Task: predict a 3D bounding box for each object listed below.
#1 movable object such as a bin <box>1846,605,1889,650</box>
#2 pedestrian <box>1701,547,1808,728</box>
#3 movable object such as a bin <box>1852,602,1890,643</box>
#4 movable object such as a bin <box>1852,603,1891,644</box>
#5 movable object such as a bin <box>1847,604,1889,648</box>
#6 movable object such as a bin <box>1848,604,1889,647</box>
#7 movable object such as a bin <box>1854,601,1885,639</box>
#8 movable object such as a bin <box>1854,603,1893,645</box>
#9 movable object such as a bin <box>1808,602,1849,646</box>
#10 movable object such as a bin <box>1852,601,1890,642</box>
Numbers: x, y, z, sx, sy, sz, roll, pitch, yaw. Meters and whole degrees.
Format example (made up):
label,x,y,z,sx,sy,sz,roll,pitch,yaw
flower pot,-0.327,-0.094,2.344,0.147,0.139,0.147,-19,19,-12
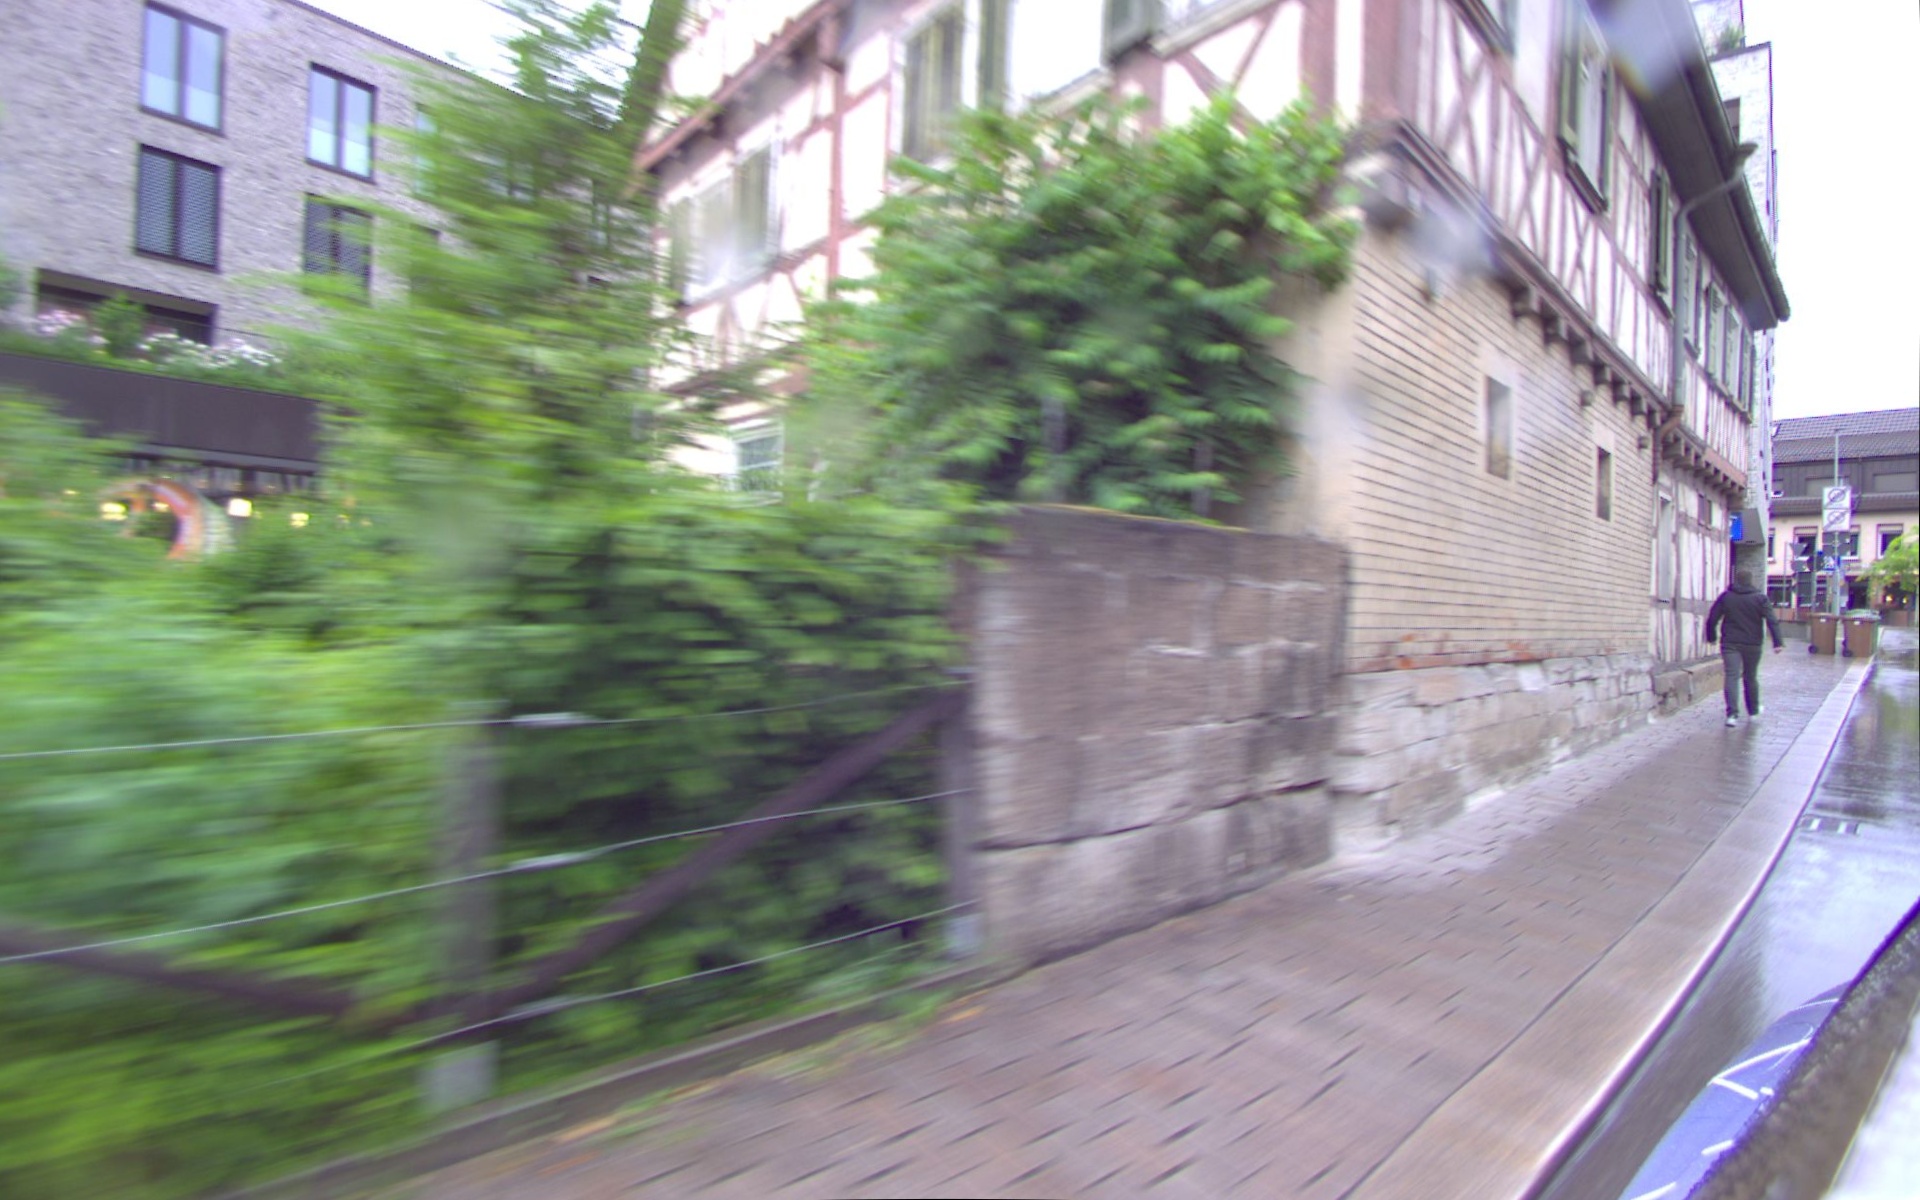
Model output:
label,x,y,z,sx,sy,sz,roll,pitch,yaw
movable object such as a bin,23.455,0.694,26.160,0.766,1.109,0.572,3,2,44
pedestrian,8.937,0.387,11.381,0.810,1.908,0.894,4,2,42
movable object such as a bin,25.982,0.643,28.858,0.766,1.109,0.572,3,2,44
movable object such as a bin,25.589,0.653,28.416,0.766,1.109,0.572,3,2,44
movable object such as a bin,23.949,0.678,26.693,0.766,1.109,0.572,3,2,44
movable object such as a bin,24.346,0.669,27.122,0.766,1.109,0.572,3,2,44
movable object such as a bin,27.544,0.605,30.651,0.663,1.109,0.543,3,2,42
movable object such as a bin,25.222,0.653,27.937,0.766,1.109,0.572,3,2,44
movable object such as a bin,23.259,0.633,27.096,0.766,1.109,0.617,3,2,44
movable object such as a bin,26.372,0.616,29.285,0.766,1.109,0.572,3,2,44
